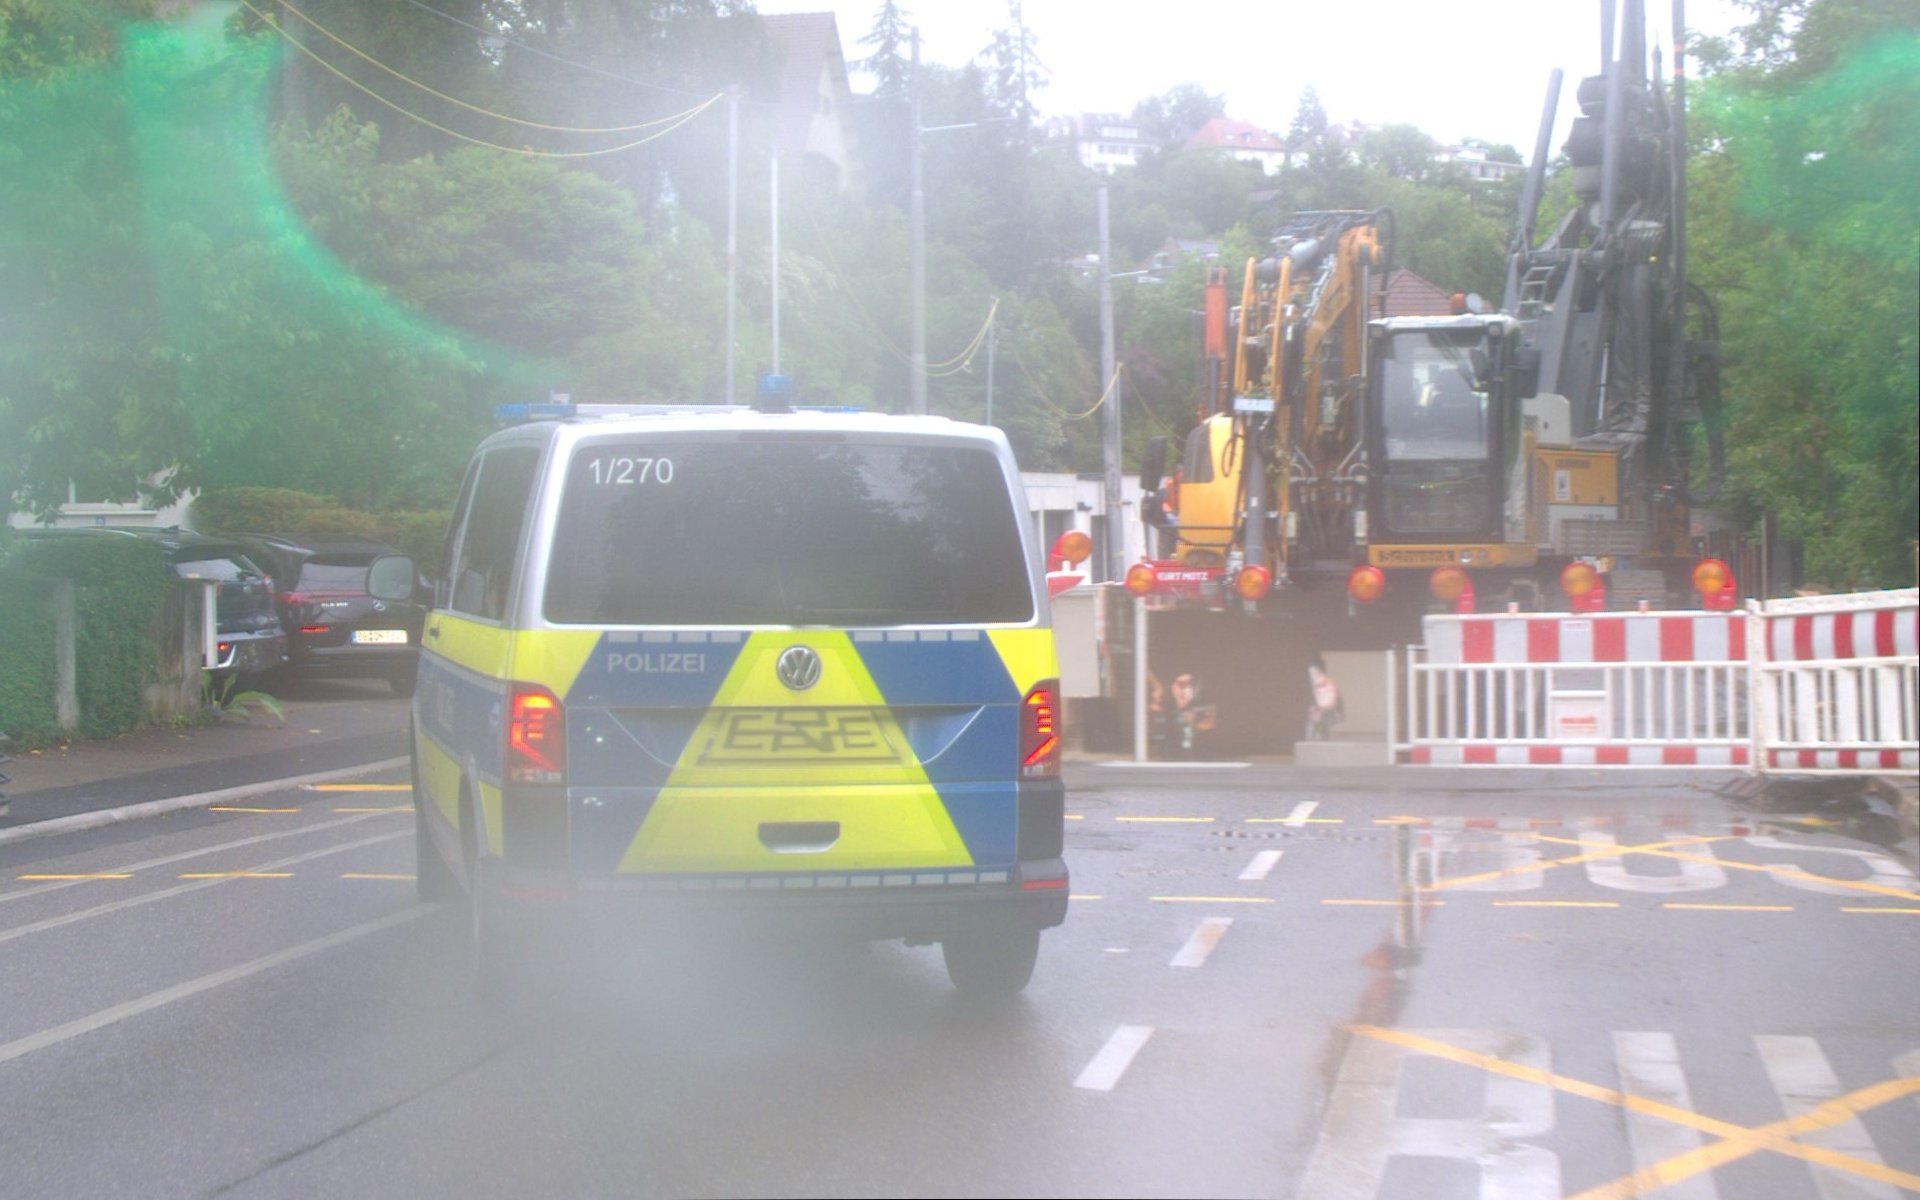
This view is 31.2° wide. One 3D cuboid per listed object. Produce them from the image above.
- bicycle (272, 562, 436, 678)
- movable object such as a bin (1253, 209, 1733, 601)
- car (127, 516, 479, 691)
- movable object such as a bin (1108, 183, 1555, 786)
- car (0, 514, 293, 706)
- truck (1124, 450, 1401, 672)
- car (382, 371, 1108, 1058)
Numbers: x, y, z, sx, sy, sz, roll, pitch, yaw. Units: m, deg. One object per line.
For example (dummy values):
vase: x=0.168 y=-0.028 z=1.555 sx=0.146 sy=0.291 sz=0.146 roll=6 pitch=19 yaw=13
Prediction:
bicycle: x=-6.071 y=0.194 z=34.401 sx=1.620 sy=1.127 sz=0.442 roll=1 pitch=0 yaw=23
movable object such as a bin: x=7.668 y=-2.569 z=48.696 sx=3.690 sy=5.049 sz=7.147 roll=-1 pitch=0 yaw=37
car: x=-6.155 y=0.001 z=31.881 sx=1.781 sy=1.520 sz=4.000 roll=1 pitch=1 yaw=-34
movable object such as a bin: x=2.960 y=-0.841 z=26.214 sx=2.880 sy=4.156 sz=4.485 roll=-1 pitch=1 yaw=12
car: x=-7.899 y=0.056 z=29.030 sx=3.990 sy=1.520 sz=1.939 roll=1 pitch=0 yaw=19
truck: x=3.130 y=-0.370 z=34.896 sx=2.551 sy=2.101 sz=3.303 roll=-1 pitch=0 yaw=9
car: x=-0.983 y=0.331 z=12.405 sx=1.907 sy=2.003 sz=4.441 roll=1 pitch=0 yaw=-13
